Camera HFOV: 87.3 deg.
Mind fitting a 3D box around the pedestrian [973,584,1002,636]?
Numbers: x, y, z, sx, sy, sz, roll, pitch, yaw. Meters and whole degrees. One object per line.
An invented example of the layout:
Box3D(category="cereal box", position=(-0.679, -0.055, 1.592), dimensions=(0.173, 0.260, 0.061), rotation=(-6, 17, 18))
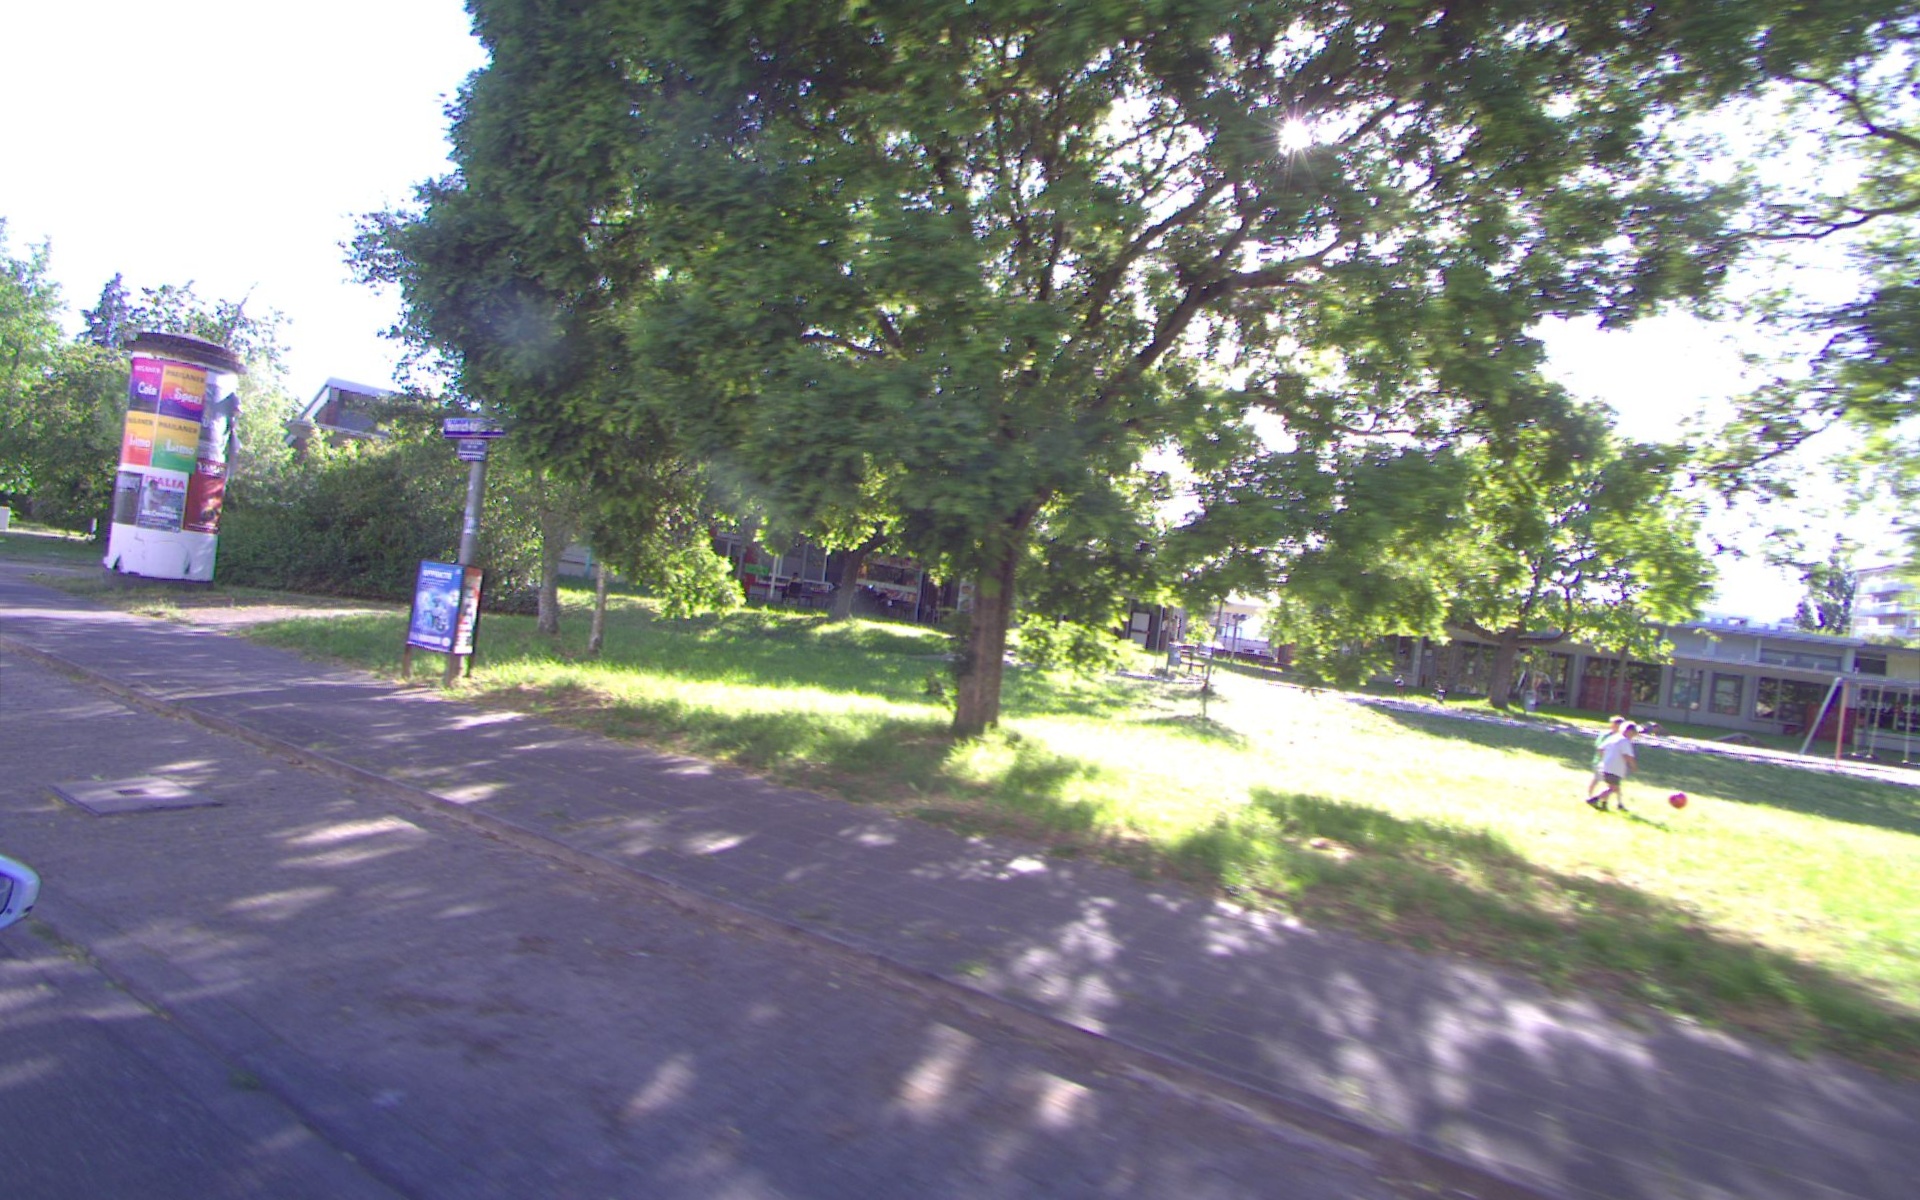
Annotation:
Box3D(category="pedestrian", position=(1.130, 0.417, 41.769), dimensions=(0.841, 2.038, 0.636), rotation=(7, 0, 17))

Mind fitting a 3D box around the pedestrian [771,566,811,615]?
Box3D(category="pedestrian", position=(-6.035, -0.336, 35.833), dimensions=(0.850, 1.595, 1.079), rotation=(7, 0, -37))

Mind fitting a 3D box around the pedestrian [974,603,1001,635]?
Box3D(category="pedestrian", position=(1.211, 0.857, 44.661), dimensions=(0.831, 1.287, 0.763), rotation=(7, 0, -26))

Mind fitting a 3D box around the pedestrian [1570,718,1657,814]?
Box3D(category="pedestrian", position=(8.537, 2.158, 13.146), dimensions=(0.718, 1.102, 0.695), rotation=(7, 1, -43))

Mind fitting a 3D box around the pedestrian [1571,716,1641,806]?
Box3D(category="pedestrian", position=(8.964, 2.224, 13.973), dimensions=(0.498, 1.102, 0.635), rotation=(7, 1, 11))

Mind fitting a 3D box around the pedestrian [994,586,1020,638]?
Box3D(category="pedestrian", position=(1.948, 0.513, 41.618), dimensions=(0.825, 2.038, 0.636), rotation=(7, 0, 6))
